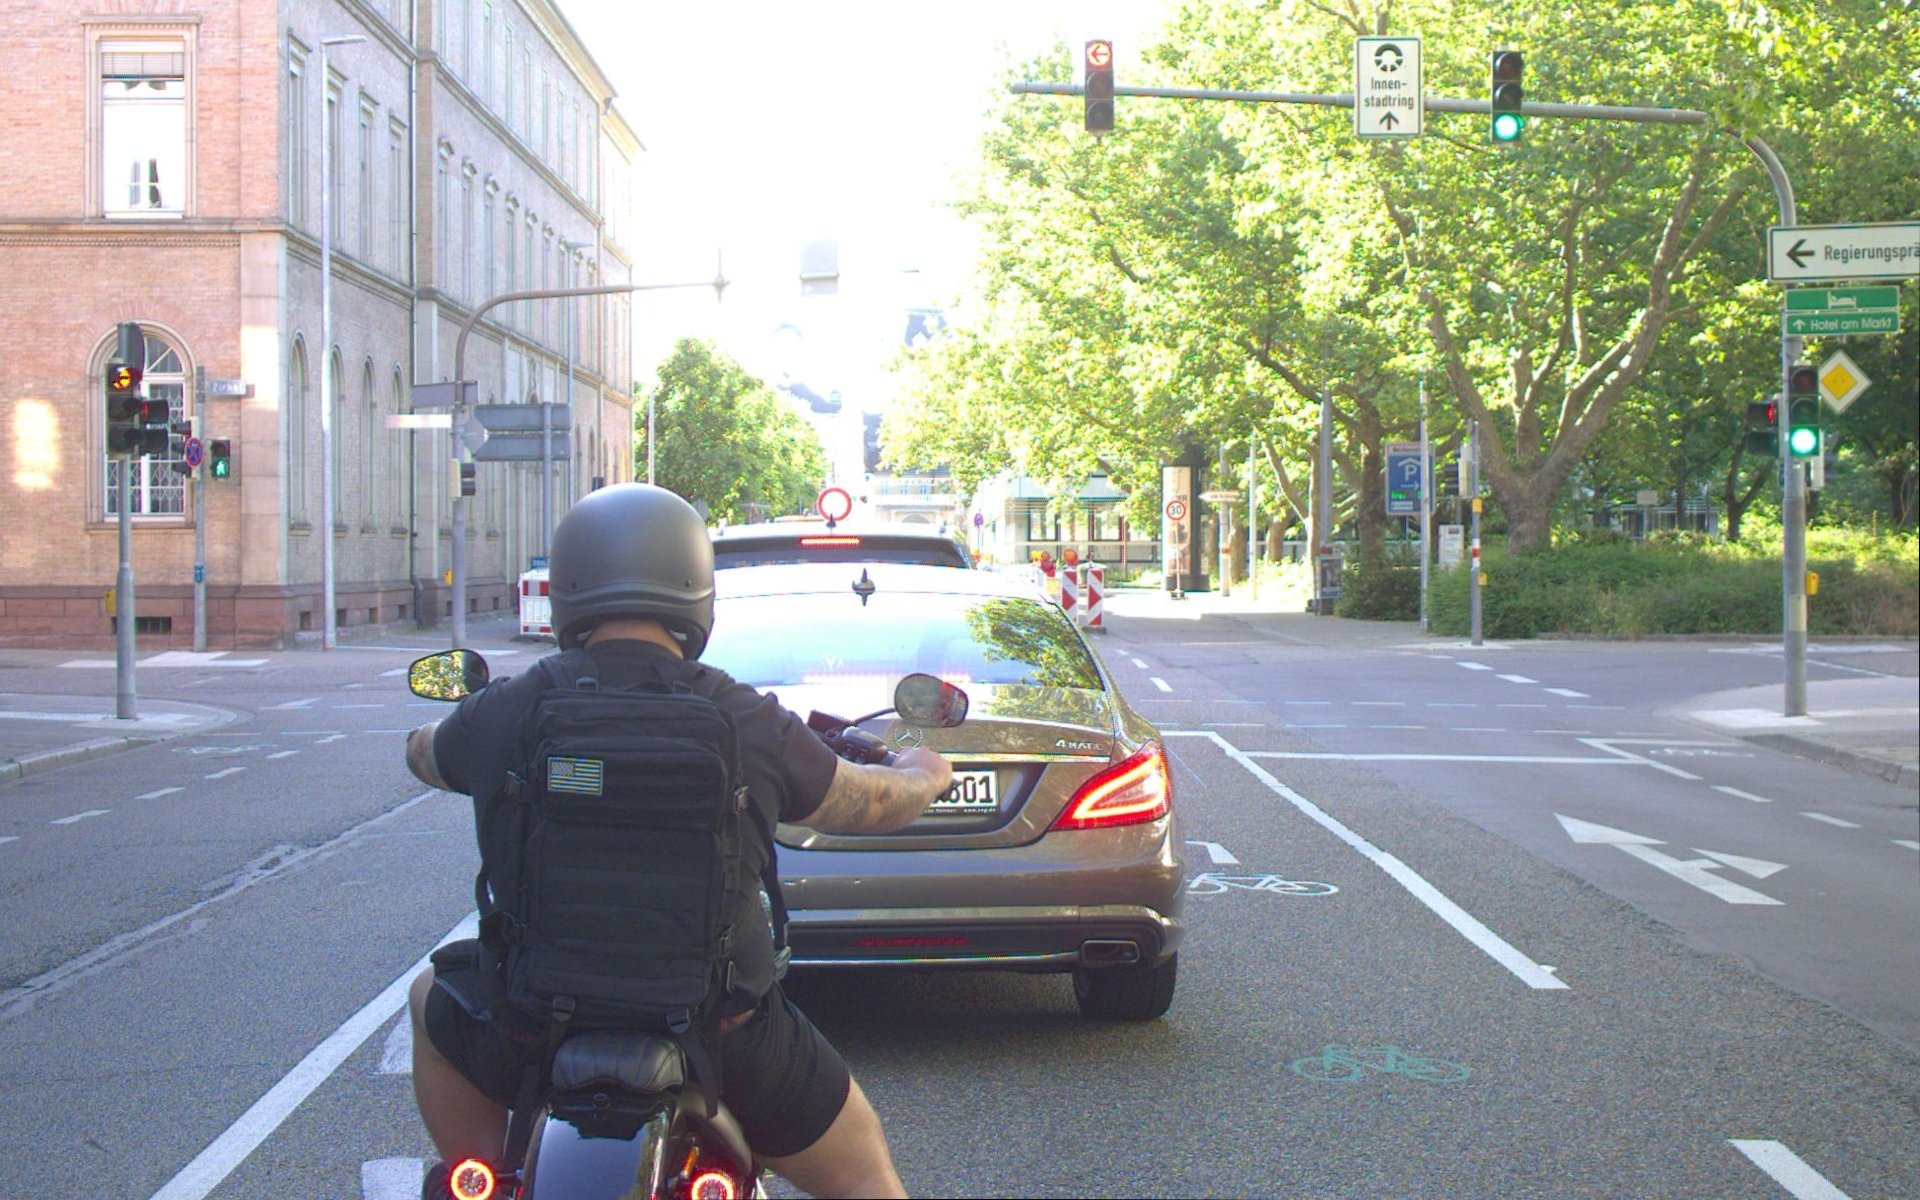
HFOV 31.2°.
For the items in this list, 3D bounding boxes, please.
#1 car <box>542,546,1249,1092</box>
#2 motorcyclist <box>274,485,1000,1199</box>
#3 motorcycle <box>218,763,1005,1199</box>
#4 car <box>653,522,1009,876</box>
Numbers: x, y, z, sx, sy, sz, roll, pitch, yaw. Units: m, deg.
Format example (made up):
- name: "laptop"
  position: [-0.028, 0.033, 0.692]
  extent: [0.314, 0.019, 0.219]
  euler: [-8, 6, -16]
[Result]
- name: "car"
  position: [-0.428, 0.559, 11.598]
  extent: [1.945, 1.468, 4.363]
  euler: [0, 1, -7]
- name: "motorcyclist"
  position: [-0.449, 0.626, 5.404]
  extent: [0.989, 1.591, 1.404]
  euler: [0, 1, -1]
- name: "motorcycle"
  position: [-0.452, 0.881, 5.562]
  extent: [0.989, 1.075, 2.452]
  euler: [0, 1, -1]
- name: "car"
  position: [-0.634, 0.409, 17.764]
  extent: [1.612, 1.602, 4.329]
  euler: [0, 1, -1]
